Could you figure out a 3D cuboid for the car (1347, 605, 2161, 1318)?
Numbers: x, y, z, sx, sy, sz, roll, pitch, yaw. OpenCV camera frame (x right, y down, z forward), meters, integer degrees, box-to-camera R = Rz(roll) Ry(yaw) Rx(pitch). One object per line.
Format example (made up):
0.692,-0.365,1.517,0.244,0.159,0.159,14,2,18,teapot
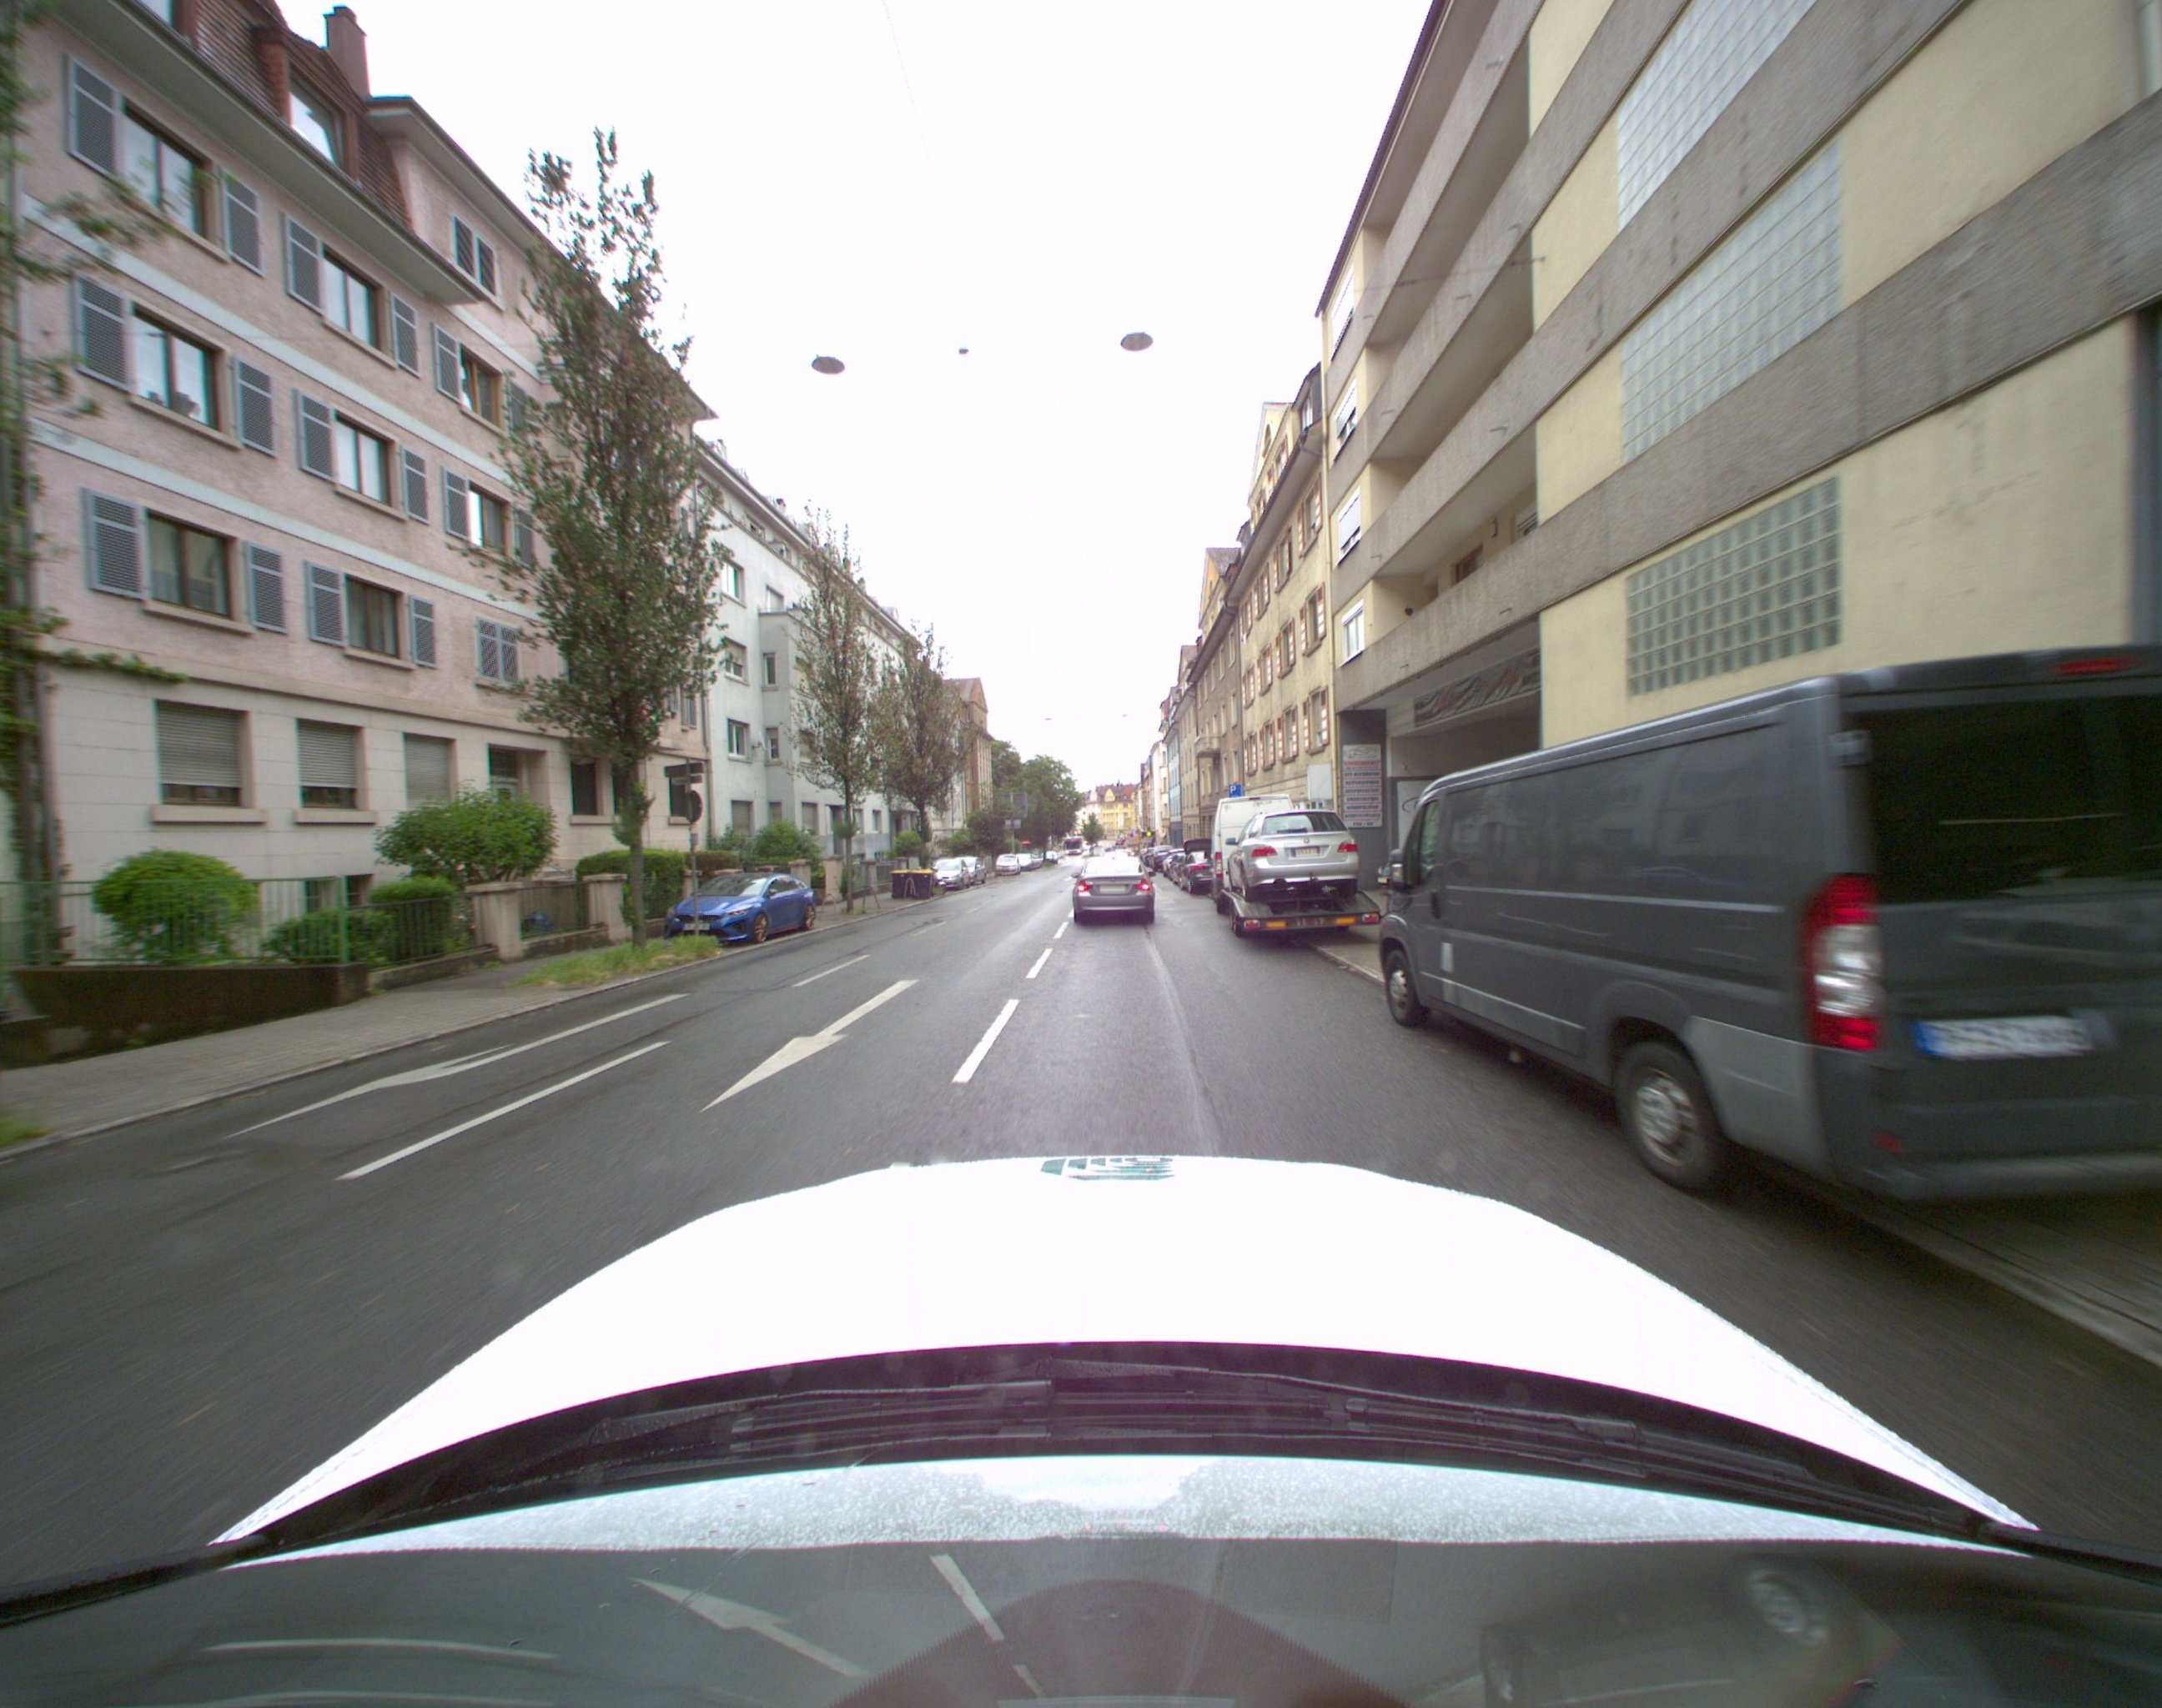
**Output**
3.647,0.302,5.239,2.145,2.149,5.512,-2,0,2,car

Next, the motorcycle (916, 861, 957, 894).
-6.070,0.979,34.176,1.788,1.315,0.746,-2,0,43,motorcycle

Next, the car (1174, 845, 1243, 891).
4.527,0.492,29.482,1.772,1.479,4.188,-2,-1,-1,car

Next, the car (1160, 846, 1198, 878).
5.437,0.414,45.471,1.626,1.638,4.195,1,0,1,car

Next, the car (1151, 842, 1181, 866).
5.918,-0.030,57.063,1.783,1.548,4.229,-3,0,3,car

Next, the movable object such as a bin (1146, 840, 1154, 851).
12.070,-1.480,142.049,1.119,1.702,1.433,-2,-1,0,movable object such as a bin

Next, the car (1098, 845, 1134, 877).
1.655,0.340,39.236,1.597,1.420,3.287,1,-1,0,car

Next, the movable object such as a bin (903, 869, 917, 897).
-6.833,1.154,32.492,0.470,1.058,0.482,2,-1,-7,movable object such as a bin

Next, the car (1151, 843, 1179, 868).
6.533,0.084,63.503,1.784,1.817,4.082,-3,0,2,car

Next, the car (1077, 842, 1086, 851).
0.117,-1.701,184.651,1.986,2.014,4.001,1,-1,1,car

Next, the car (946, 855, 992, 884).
-6.019,0.810,44.134,1.592,1.451,3.894,-1,-1,6,car

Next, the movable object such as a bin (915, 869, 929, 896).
-6.204,1.109,31.749,0.470,1.058,0.482,2,-1,-7,movable object such as a bin

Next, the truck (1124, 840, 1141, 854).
8.473,-1.172,134.899,2.210,2.116,4.648,3,0,-2,truck

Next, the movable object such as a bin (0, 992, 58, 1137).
-7.213,1.394,5.299,0.362,0.890,0.573,0,-1,2,movable object such as a bin

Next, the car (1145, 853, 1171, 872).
6.604,0.698,70.275,1.834,1.409,4.389,-3,0,1,car

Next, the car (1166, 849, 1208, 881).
5.189,0.509,40.348,1.626,1.478,3.735,1,0,1,car

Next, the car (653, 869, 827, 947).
-7.186,1.067,17.761,1.672,1.386,4.605,-2,-1,2,car

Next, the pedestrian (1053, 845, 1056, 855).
-4.662,-0.746,143.077,0.542,1.709,0.465,2,-1,-5,pedestrian

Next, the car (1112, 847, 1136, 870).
2.712,0.308,50.594,1.429,1.356,3.765,1,-1,4,car

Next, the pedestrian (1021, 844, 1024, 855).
-9.838,-0.812,136.516,0.464,1.790,0.544,2,-1,-5,pedestrian

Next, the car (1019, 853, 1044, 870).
-4.218,0.637,69.627,1.676,1.390,3.912,0,0,3,car

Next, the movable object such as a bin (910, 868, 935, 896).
-6.052,1.065,31.057,0.821,1.058,0.484,1,-1,3,movable object such as a bin

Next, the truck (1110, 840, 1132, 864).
4.352,-0.218,89.809,2.209,2.544,4.781,1,-1,1,truck

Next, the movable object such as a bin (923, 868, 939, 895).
-5.985,1.100,32.473,0.522,1.058,0.484,1,-1,3,movable object such as a bin

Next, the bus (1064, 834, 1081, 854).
-1.511,-1.736,148.616,2.671,3.200,11.958,1,-1,1,bus

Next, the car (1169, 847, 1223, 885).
4.902,0.489,35.314,1.771,1.479,4.588,-2,-1,1,car

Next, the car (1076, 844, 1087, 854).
0.132,-0.995,170.566,1.986,2.014,4.001,2,-1,1,car

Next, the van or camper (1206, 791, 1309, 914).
4.469,-0.070,21.559,2.172,2.699,6.435,-2,0,8,van or camper

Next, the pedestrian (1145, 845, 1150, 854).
11.662,-0.769,143.298,0.745,1.661,0.756,1,-1,9,pedestrian

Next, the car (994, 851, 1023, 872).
-5.266,0.546,59.489,1.640,1.508,3.797,-1,-1,1,car

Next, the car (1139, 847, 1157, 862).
6.846,0.022,83.011,1.577,1.429,3.597,-4,0,2,car

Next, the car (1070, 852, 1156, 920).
0.718,0.668,18.142,1.749,1.362,3.166,0,-1,2,car

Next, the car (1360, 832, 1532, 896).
9.519,0.226,21.453,3.643,1.391,1.897,-4,2,-3,car

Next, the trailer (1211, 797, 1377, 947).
3.600,0.219,14.780,1.984,2.152,5.079,-3,1,5,trailer

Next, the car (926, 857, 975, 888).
-6.156,0.869,38.882,1.595,1.396,3.888,-1,-1,2,car

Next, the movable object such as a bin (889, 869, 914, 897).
-6.958,1.123,31.559,0.821,1.058,0.484,0,-1,3,movable object such as a bin

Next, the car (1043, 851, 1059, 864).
-3.512,0.419,94.939,1.648,1.454,3.943,-1,0,1,car

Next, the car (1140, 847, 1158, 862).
7.616,0.085,91.449,1.810,1.557,4.296,-3,0,3,car
